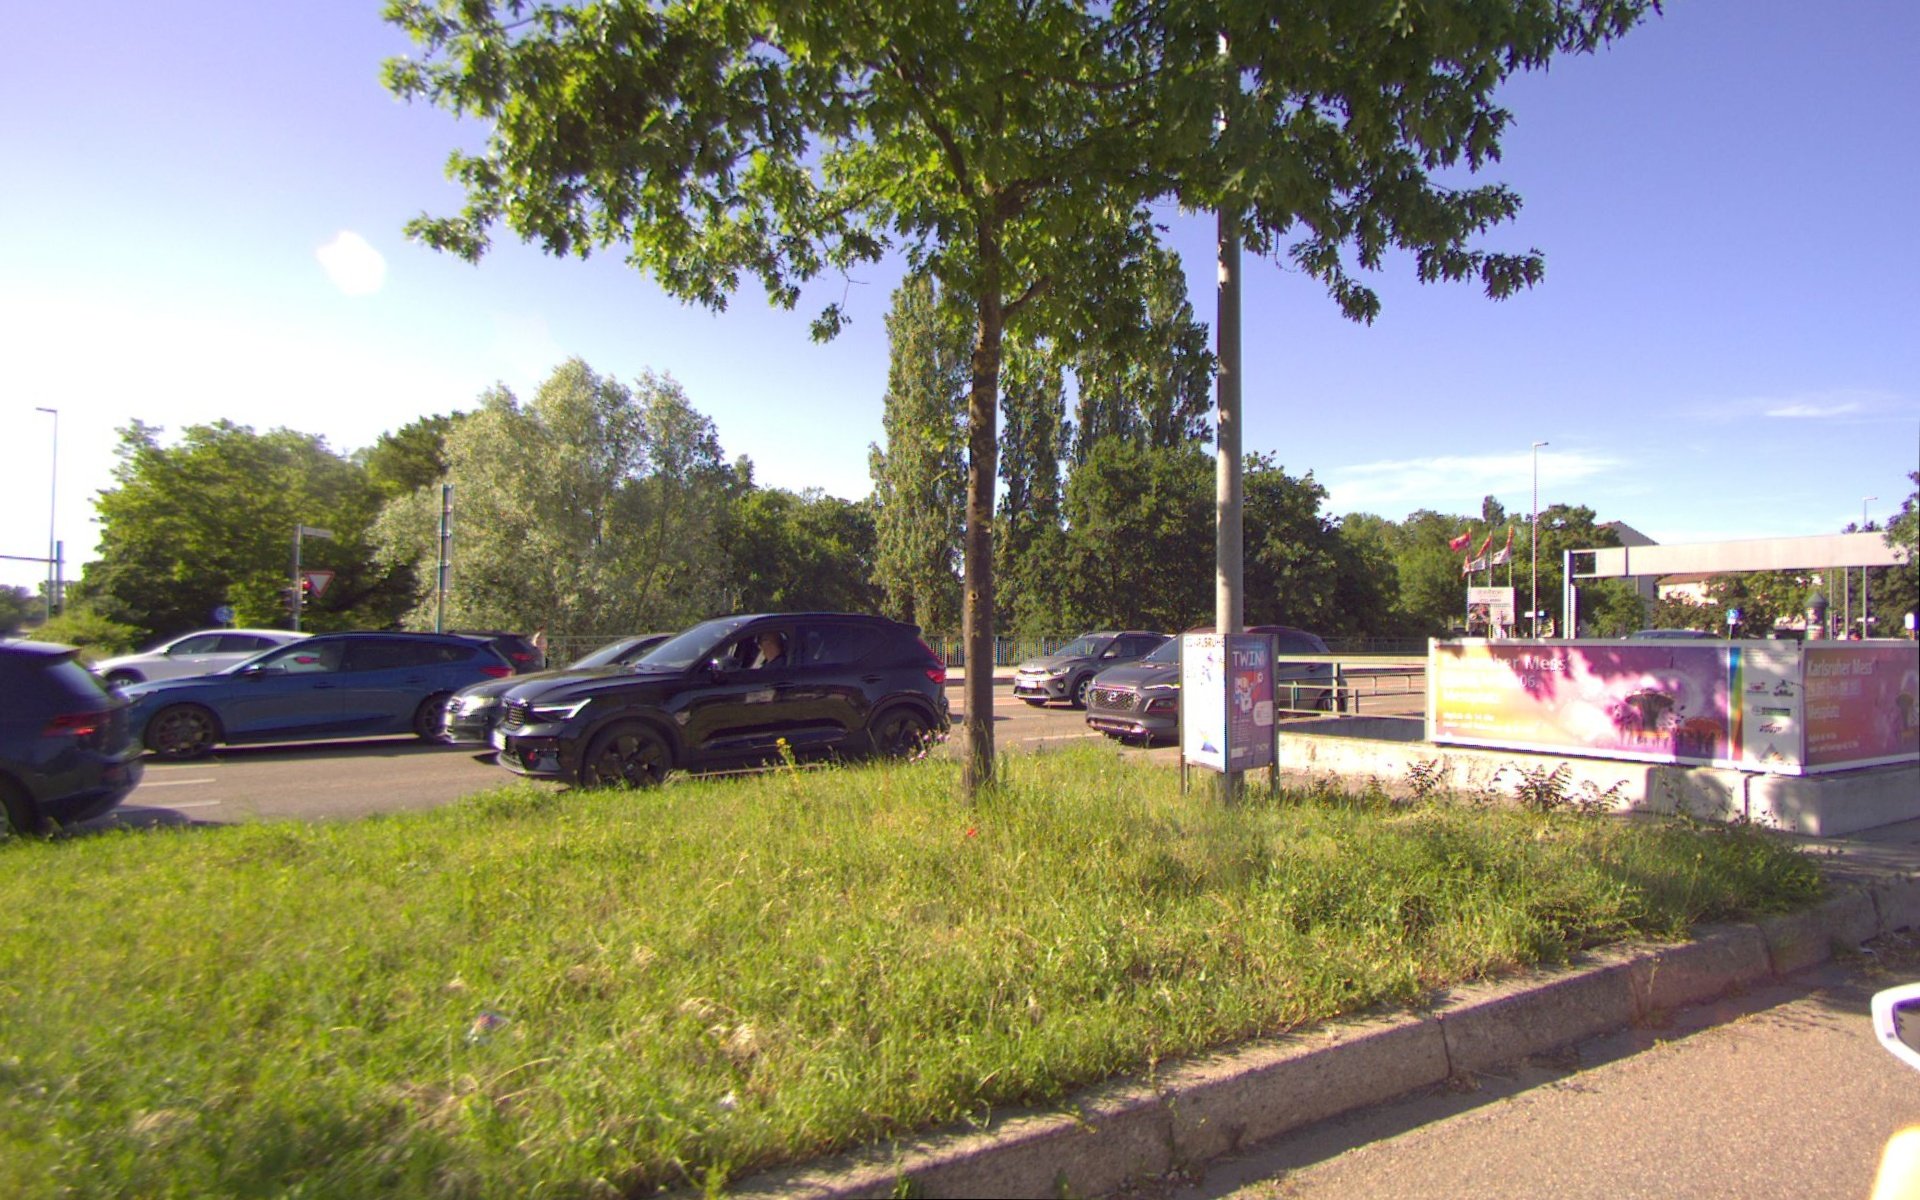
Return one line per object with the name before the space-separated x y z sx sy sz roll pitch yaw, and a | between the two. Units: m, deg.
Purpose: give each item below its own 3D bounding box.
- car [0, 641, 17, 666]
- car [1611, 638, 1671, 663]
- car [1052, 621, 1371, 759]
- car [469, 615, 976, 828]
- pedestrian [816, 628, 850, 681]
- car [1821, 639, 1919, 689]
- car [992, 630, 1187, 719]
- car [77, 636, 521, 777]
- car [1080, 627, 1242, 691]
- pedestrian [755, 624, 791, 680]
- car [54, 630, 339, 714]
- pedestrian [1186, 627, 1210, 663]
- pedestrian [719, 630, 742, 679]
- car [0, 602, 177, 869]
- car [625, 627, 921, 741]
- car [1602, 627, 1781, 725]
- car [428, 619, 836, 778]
car | -62.818 3.464 64.995 1.979 1.528 3.963 1 -2 -34
car | 58.856 4.327 86.826 4.185 2.040 1.991 -2 -3 39
car | 3.611 1.134 14.111 4.460 1.644 1.924 1 -2 -35
car | -2.197 0.993 9.822 4.460 1.644 1.924 1 -2 -35
pedestrian | -4.148 1.774 32.781 0.814 1.651 0.786 3 -2 -30
car | 29.908 2.048 32.781 3.958 1.520 1.733 2 -2 -34
car | 2.707 1.458 20.755 3.702 1.644 1.924 1 -2 -35
car | -8.236 1.227 12.931 4.460 1.484 1.924 1 -2 -35
car | 5.643 1.594 27.984 4.460 1.644 1.924 1 -2 -35
pedestrian | -5.930 1.644 31.845 0.814 1.688 0.786 3 -2 -30
car | -15.435 1.423 20.543 4.253 1.556 1.781 1 0 -12
pedestrian | 10.311 1.957 43.513 0.767 1.522 0.670 3 -1 -16
pedestrian | -7.465 1.778 32.664 0.527 1.542 0.543 3 -1 -30
car | -7.655 0.824 6.095 4.462 1.644 1.923 1 -2 -36
car | -3.038 1.286 16.678 4.460 1.644 1.924 1 -2 -35
car | 16.805 1.662 23.029 4.289 2.040 1.982 2 -2 -34
car | -3.971 1.073 12.466 4.460 1.644 1.924 1 -2 -35
